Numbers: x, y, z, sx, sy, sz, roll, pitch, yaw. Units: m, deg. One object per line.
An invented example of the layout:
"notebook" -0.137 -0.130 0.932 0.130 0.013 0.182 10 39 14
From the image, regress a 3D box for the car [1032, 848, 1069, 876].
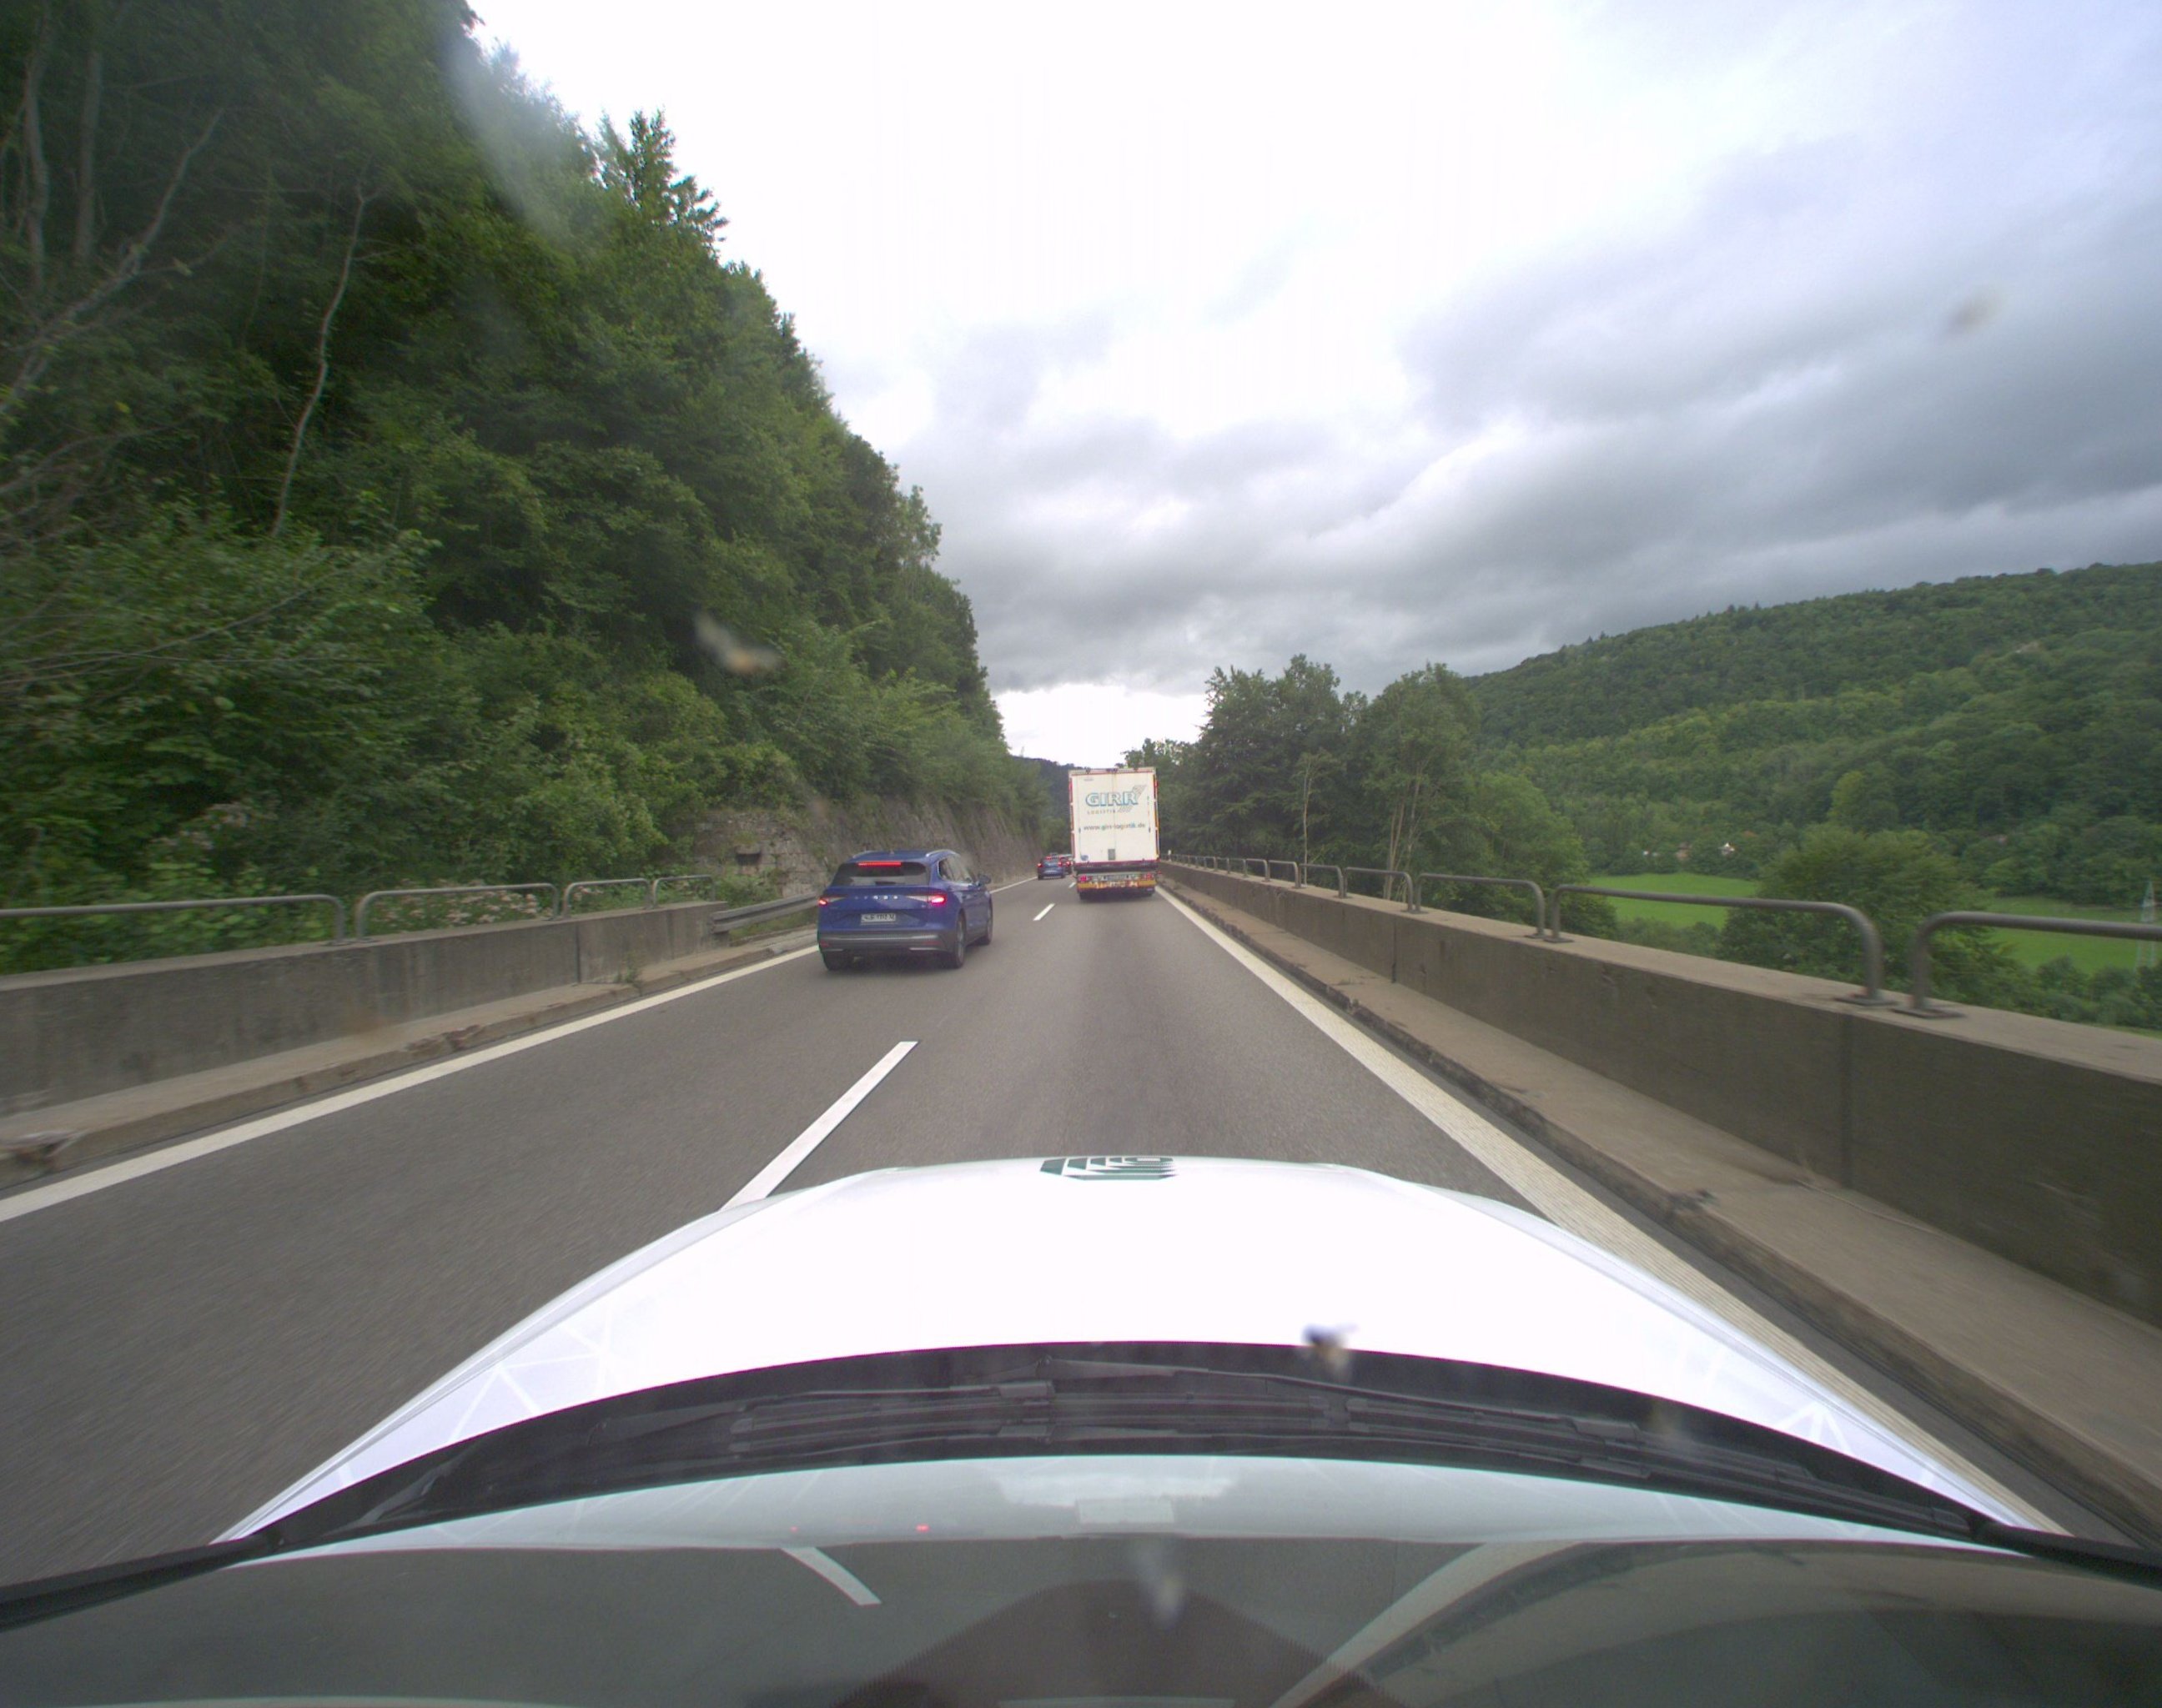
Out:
"car" -1.938 0.539 52.630 1.986 1.596 4.355 -4 -1 2

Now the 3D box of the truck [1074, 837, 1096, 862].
"truck" 0.553 -0.634 131.615 2.629 3.857 12.339 -1 0 -4

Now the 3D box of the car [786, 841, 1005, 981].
"car" -2.506 0.702 12.489 1.986 1.632 5.011 -2 0 2

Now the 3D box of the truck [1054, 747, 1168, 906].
"truck" 1.069 -0.856 31.198 3.073 4.463 15.160 -3 0 1

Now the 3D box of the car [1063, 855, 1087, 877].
"car" -0.431 0.925 62.289 1.739 1.587 4.000 2 -1 1

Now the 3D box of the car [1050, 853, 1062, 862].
"car" -4.714 0.698 152.382 1.744 1.587 3.989 2 -1 -8

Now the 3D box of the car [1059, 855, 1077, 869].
"car" -1.396 0.885 88.966 1.739 1.486 4.000 -1 0 1
